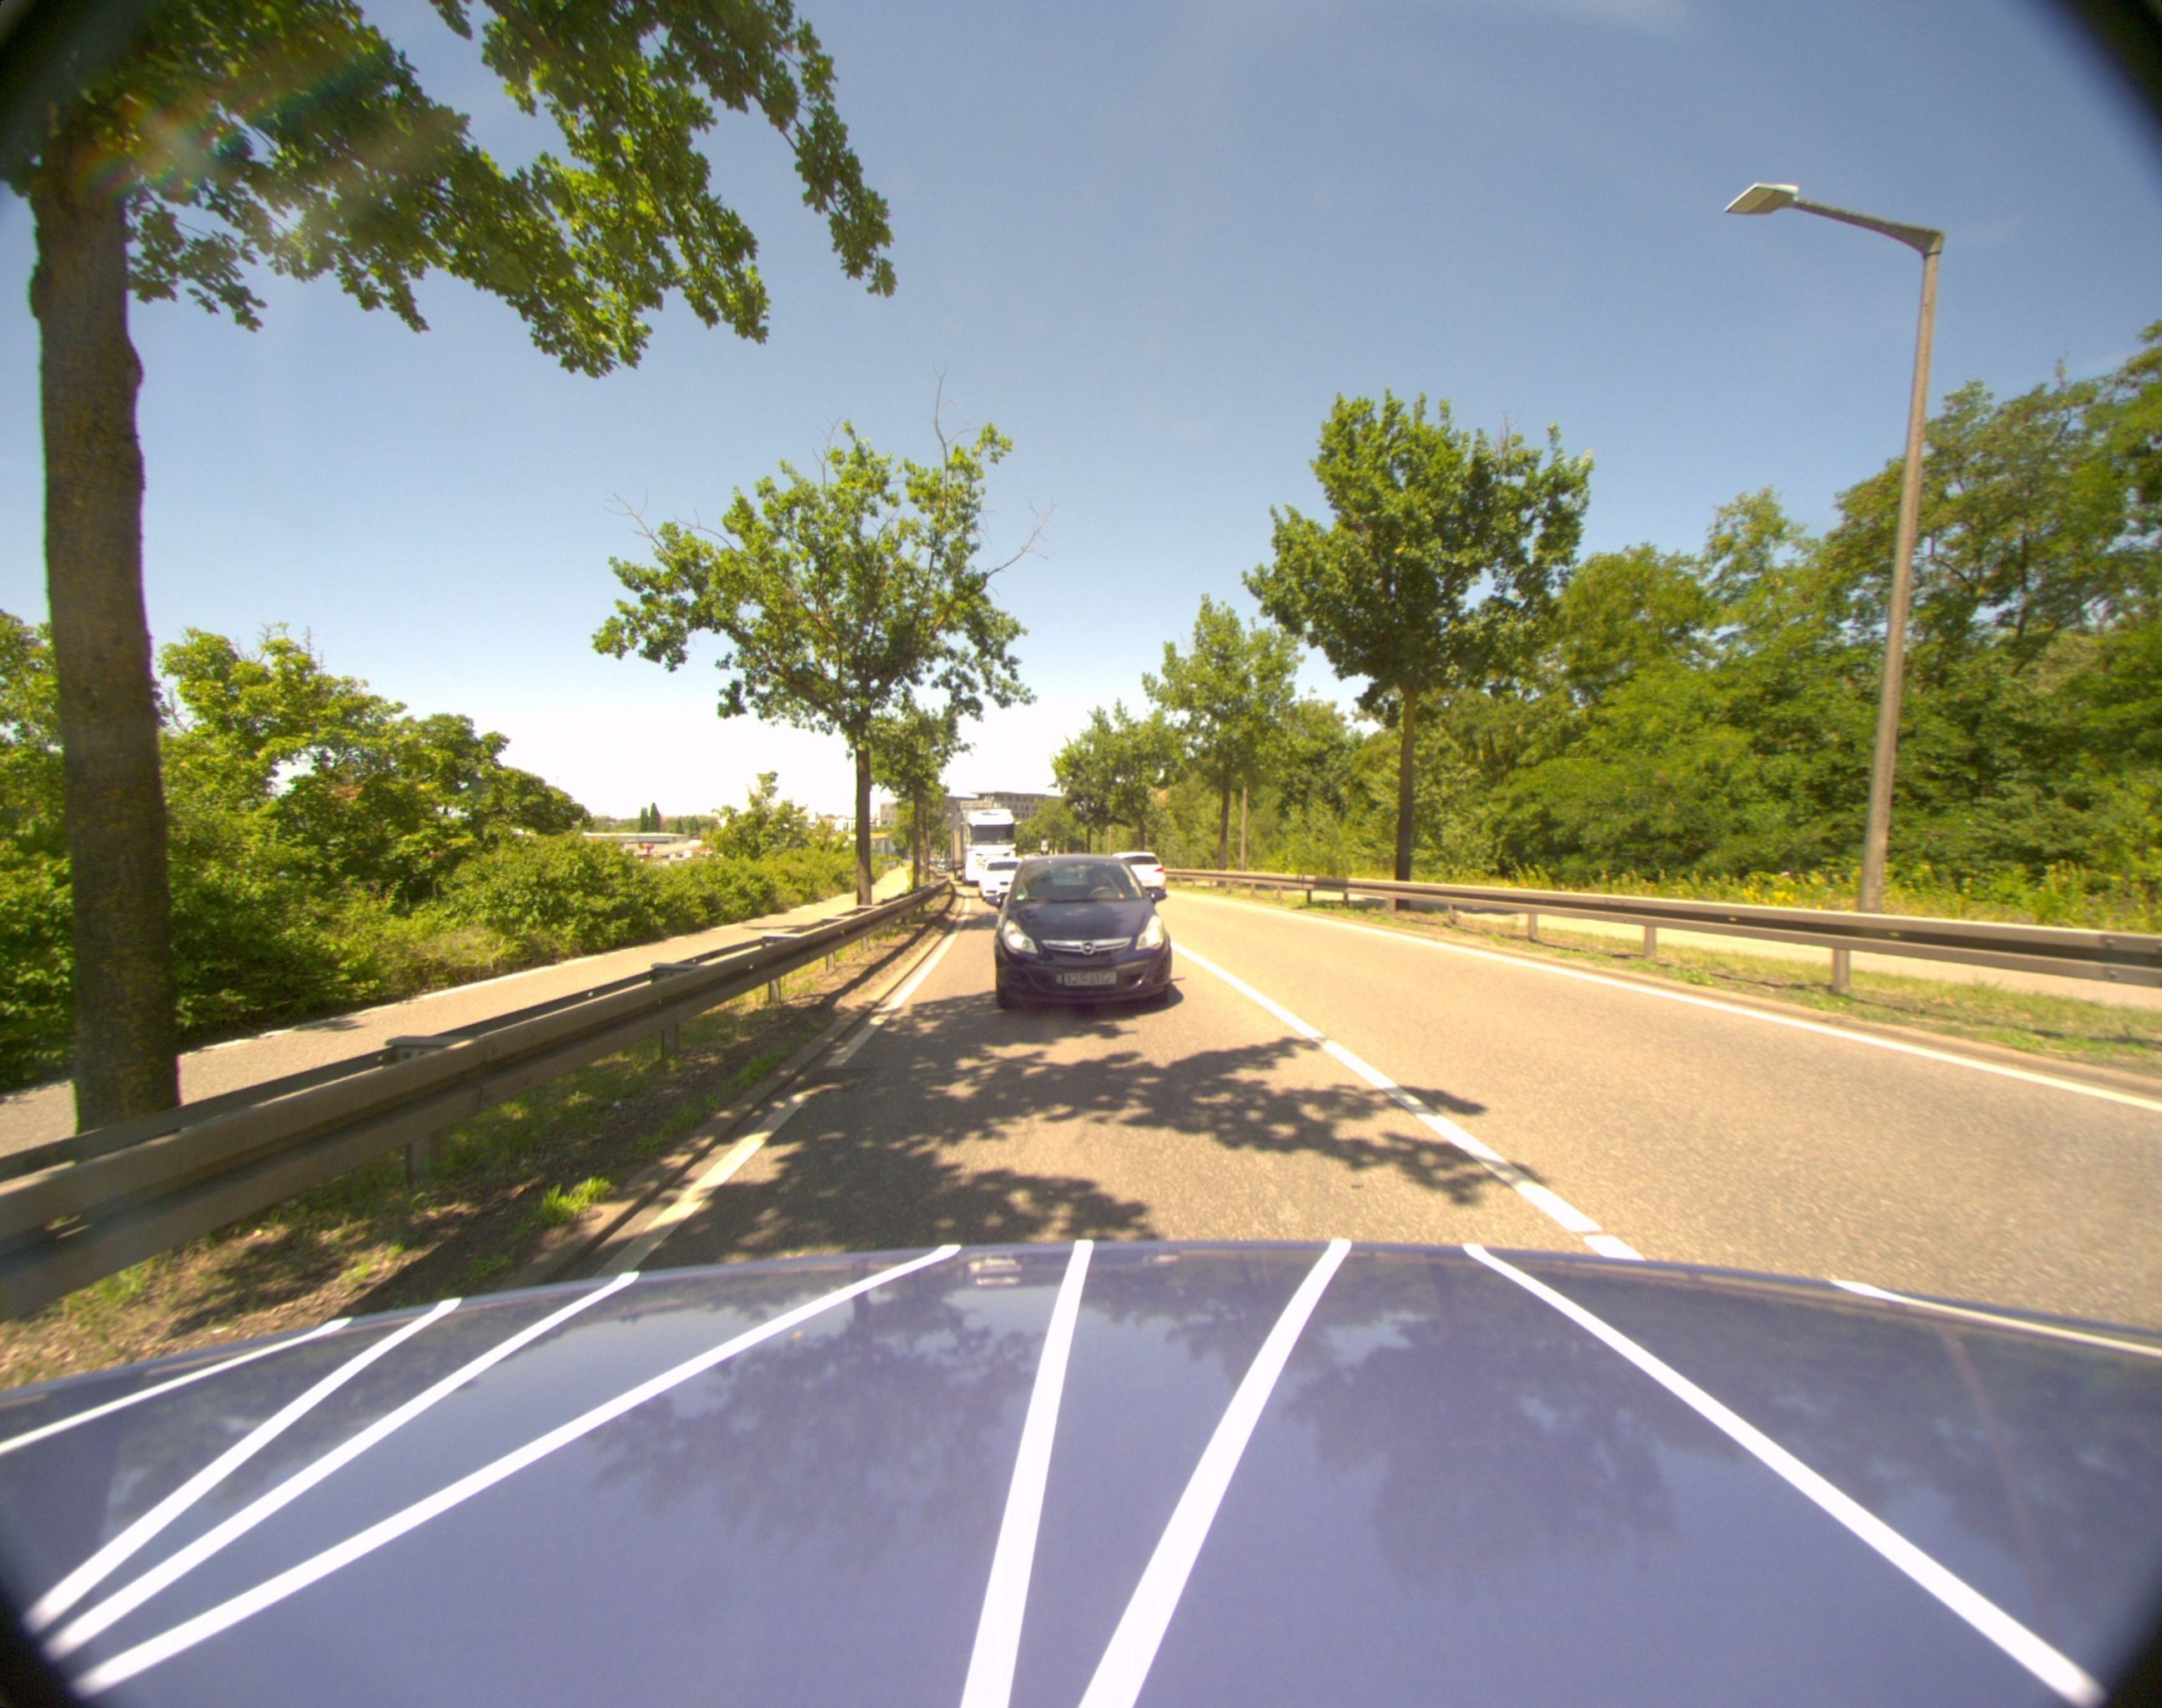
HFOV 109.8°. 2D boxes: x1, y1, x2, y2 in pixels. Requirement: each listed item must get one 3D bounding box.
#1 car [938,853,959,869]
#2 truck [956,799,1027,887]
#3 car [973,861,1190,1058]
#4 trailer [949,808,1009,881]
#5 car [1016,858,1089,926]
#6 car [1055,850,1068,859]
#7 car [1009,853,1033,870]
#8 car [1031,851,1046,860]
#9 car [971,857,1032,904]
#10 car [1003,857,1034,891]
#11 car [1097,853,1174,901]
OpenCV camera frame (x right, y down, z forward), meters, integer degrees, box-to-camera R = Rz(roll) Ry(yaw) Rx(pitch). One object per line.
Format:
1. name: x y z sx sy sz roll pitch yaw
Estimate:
1. car: -13.618 0.692 77.973 1.977 1.567 3.996 -2 0 -10
2. truck: -5.126 -0.558 41.887 2.860 4.244 8.805 -2 0 -13
3. car: -0.116 0.853 8.243 1.699 1.459 4.381 -2 0 -3
4. trailer: -7.158 -0.570 51.384 2.883 4.189 13.993 -1 0 -12
5. car: -0.791 0.842 18.693 1.570 1.408 4.120 -2 0 -5
6. car: -3.509 0.073 136.864 1.703 1.406 3.960 -1 0 5
7. car: -5.323 0.639 66.833 1.751 1.483 3.730 -1 0 -10
8. car: -7.260 0.201 130.182 1.925 1.406 4.287 -1 0 3
9. car: -2.658 0.862 26.134 1.817 1.420 3.714 -2 0 -3
10. car: -2.786 0.837 33.604 1.251 1.376 3.102 -2 0 -6
11. car: 1.753 0.710 25.729 1.730 1.430 4.020 -2 0 -9
